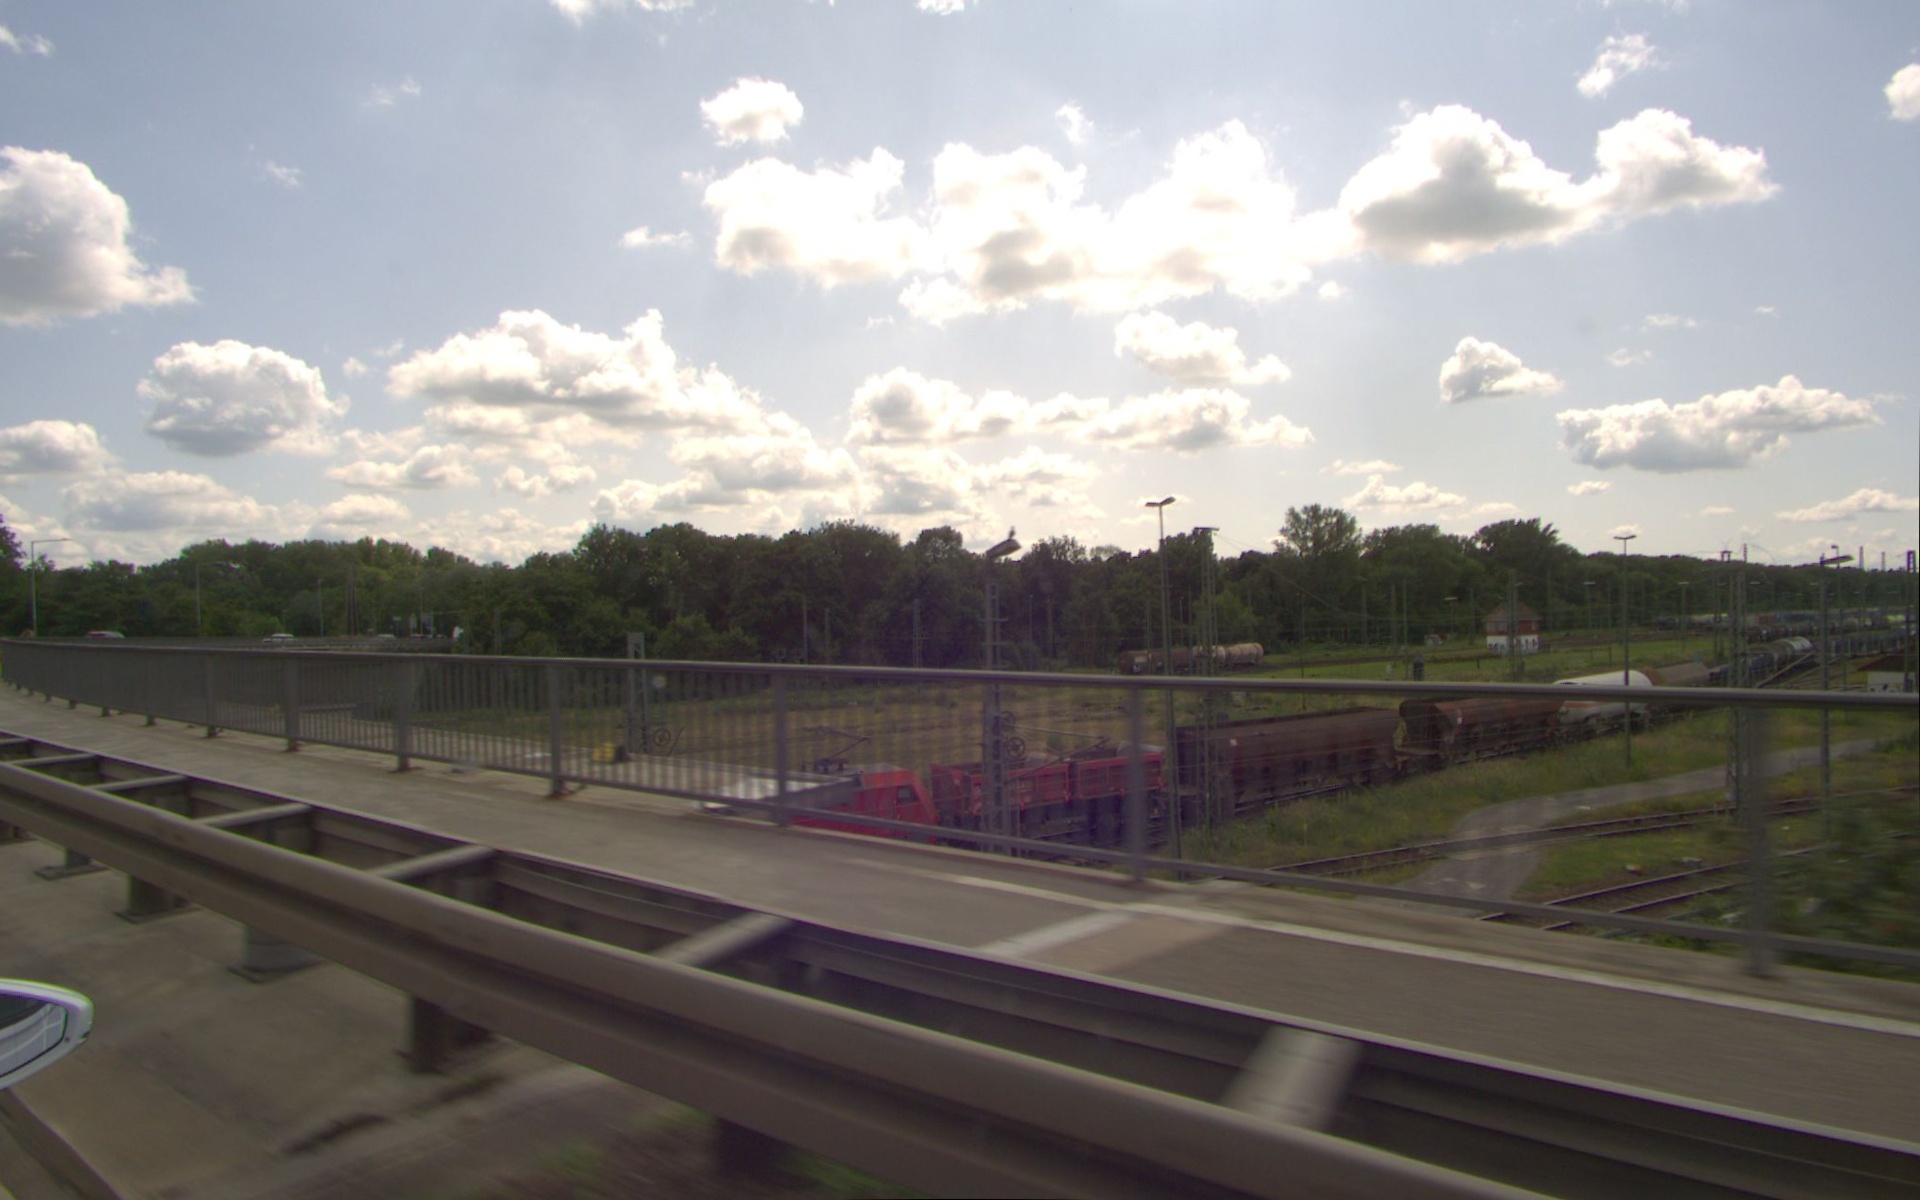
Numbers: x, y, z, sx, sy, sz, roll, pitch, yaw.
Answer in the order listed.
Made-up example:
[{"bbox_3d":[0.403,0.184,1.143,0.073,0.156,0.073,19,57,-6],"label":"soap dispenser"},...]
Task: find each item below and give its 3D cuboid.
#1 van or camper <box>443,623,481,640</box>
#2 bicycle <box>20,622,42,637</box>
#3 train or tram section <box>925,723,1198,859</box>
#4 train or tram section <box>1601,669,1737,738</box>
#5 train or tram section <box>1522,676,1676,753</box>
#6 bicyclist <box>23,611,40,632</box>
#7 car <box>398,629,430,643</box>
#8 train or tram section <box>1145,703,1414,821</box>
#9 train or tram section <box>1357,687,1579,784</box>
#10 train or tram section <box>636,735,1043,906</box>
[{"bbox_3d":[-71.829,4.584,144.565,2.236,2.370,5.243,1,-2,7],"label":"van or camper"},{"bbox_3d":[-70.876,2.267,76.425,0.760,1.108,2.105,1,-2,-30],"label":"bicycle"},{"bbox_3d":[4.517,7.765,42.250,11.899,4.203,3.115,0,-4,-32],"label":"train or tram section"},{"bbox_3d":[55.546,7.870,78.060,17.479,4.203,3.193,0,-4,-37],"label":"train or tram section"},{"bbox_3d":[45.102,7.840,70.233,16.755,4.203,3.198,0,-4,-37],"label":"train or tram section"},{"bbox_3d":[-70.925,1.650,76.518,0.758,1.623,0.943,1,-2,-30],"label":"bicyclist"},{"bbox_3d":[-68.981,4.552,126.557,1.705,1.672,3.858,1,-2,2],"label":"car"},{"bbox_3d":[16.349,7.748,49.962,16.388,4.203,3.124,0,-4,-34],"label":"train or tram section"},{"bbox_3d":[30.816,7.771,59.877,18.654,4.203,3.202,0,-4,-35],"label":"train or tram section"},{"bbox_3d":[-3.997,7.734,37.070,14.823,4.203,3.116,0,-4,-30],"label":"train or tram section"}]
